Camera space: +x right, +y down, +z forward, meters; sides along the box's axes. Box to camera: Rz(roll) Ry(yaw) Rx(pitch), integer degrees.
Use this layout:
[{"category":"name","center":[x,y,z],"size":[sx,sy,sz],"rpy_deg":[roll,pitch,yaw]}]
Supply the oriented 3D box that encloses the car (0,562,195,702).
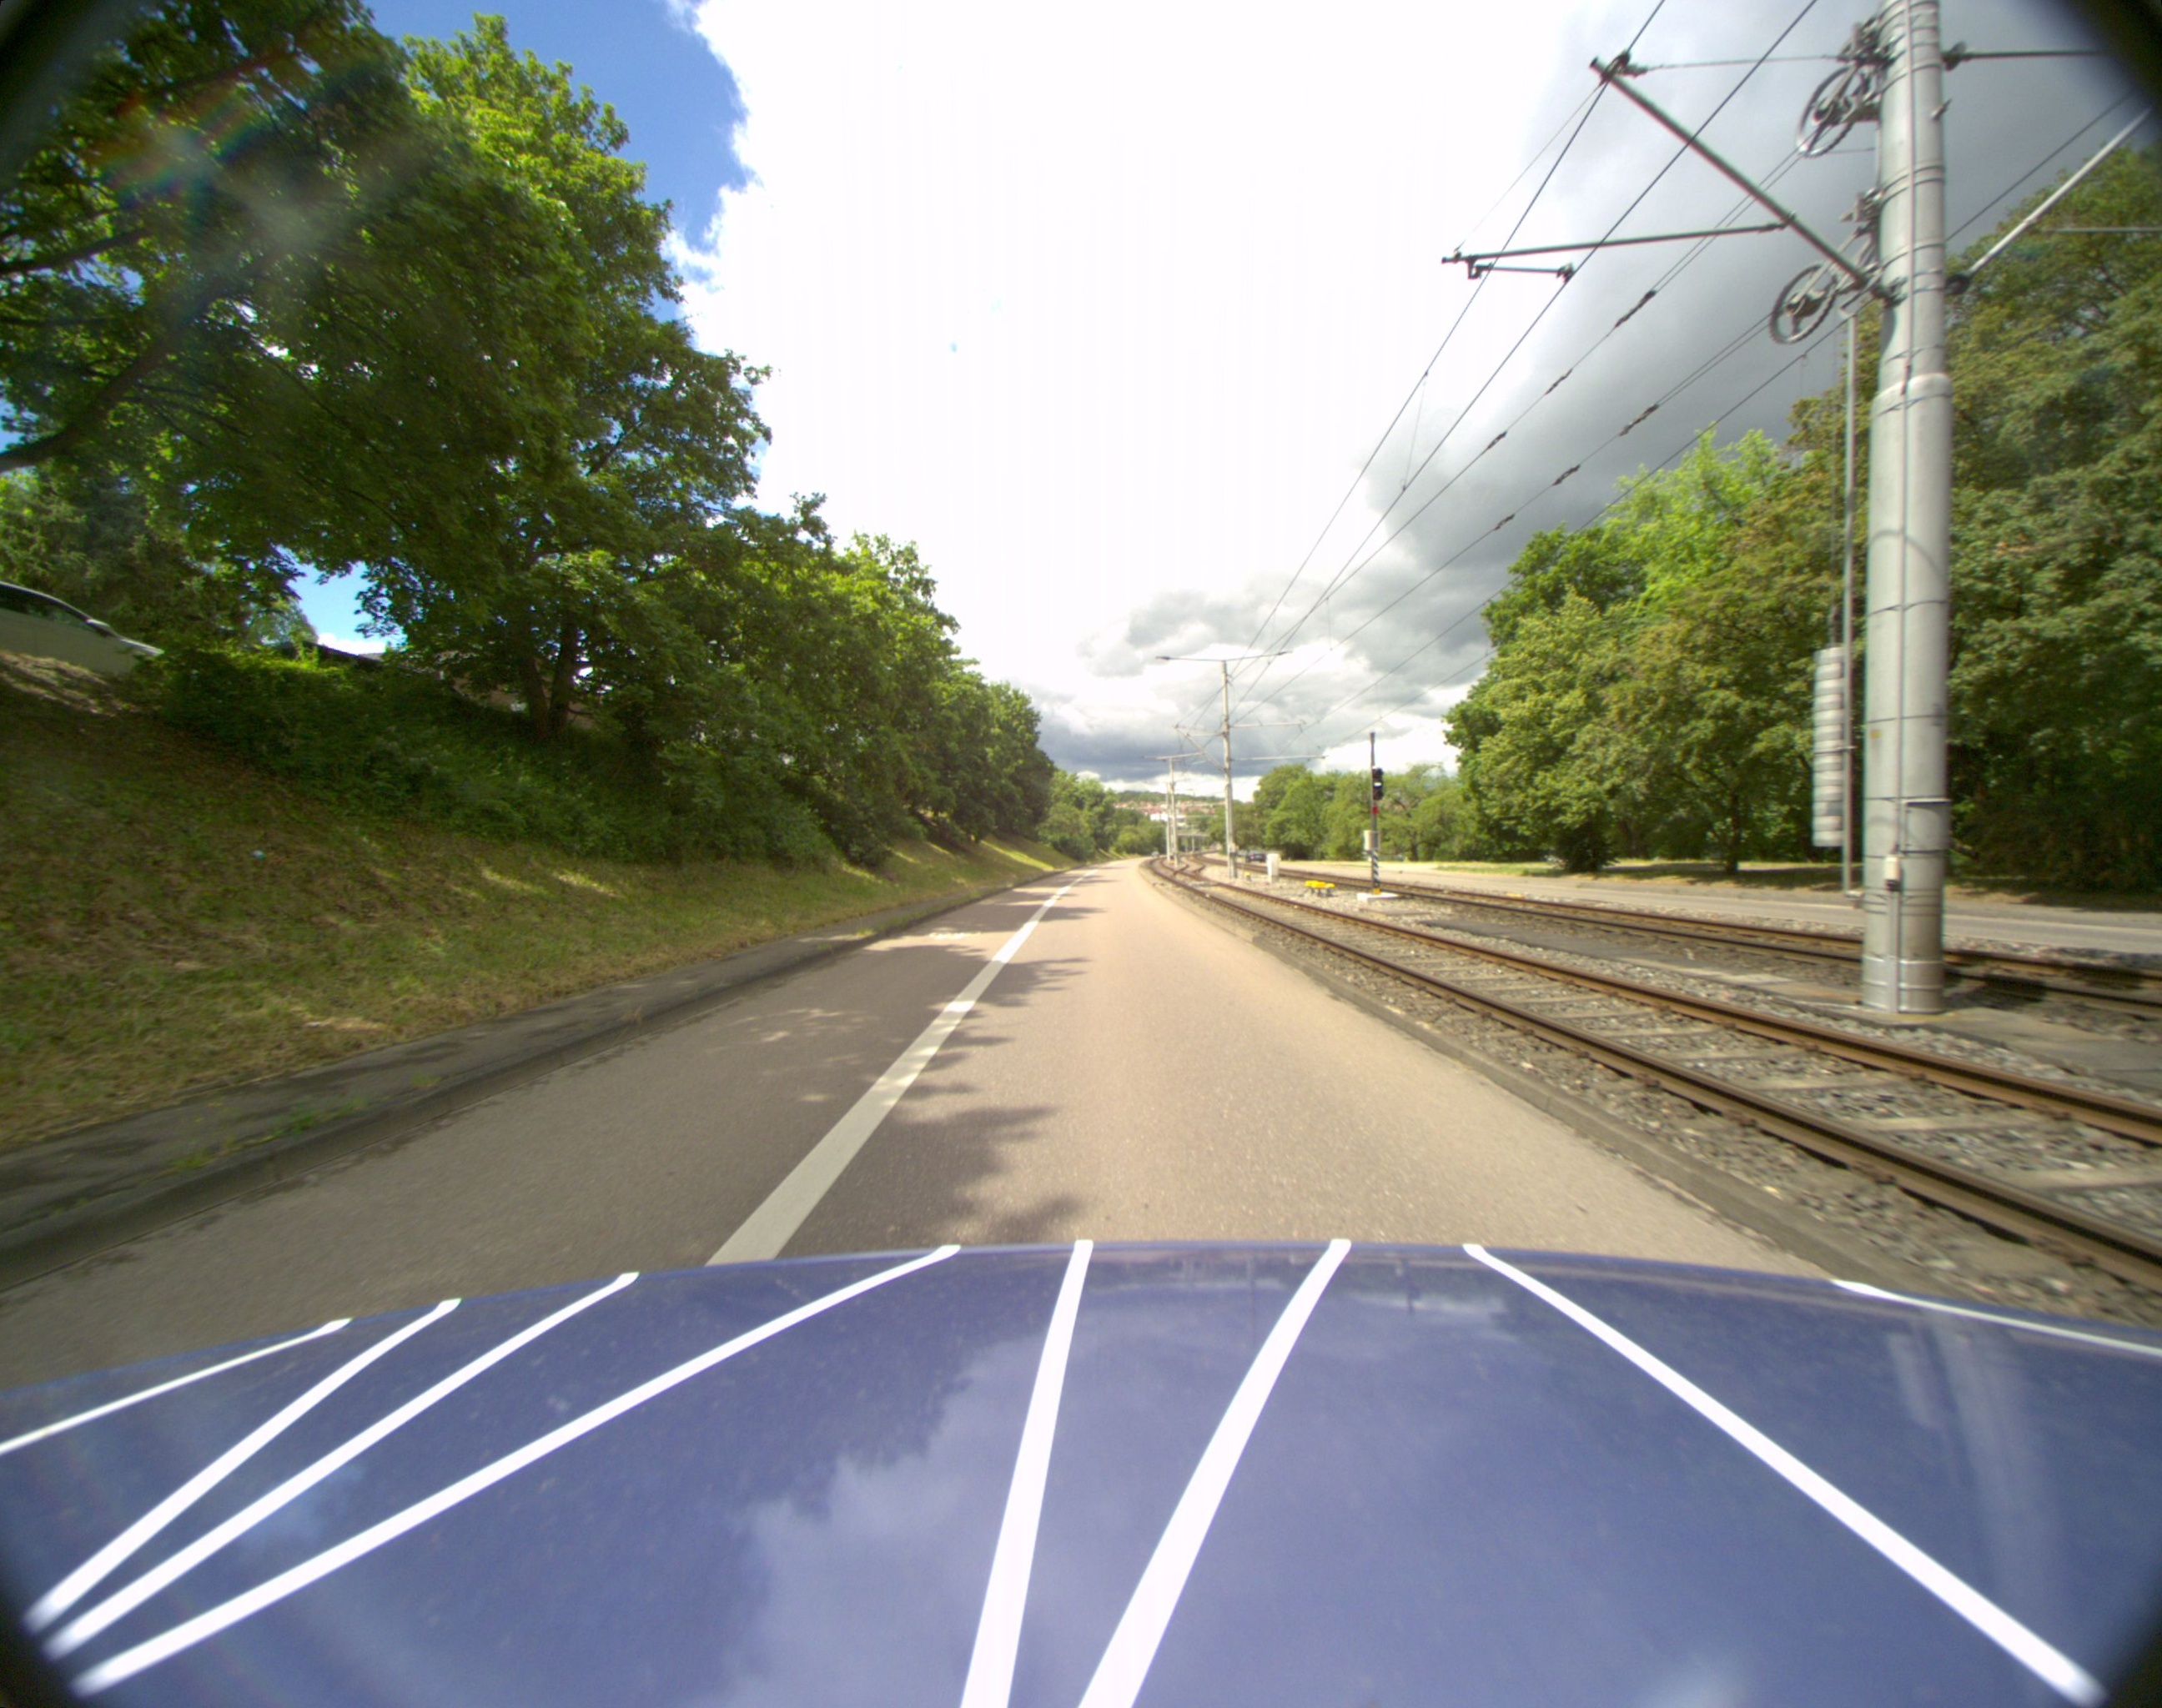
[{"category":"car","center":[-16.330,-3.408,11.207],"size":[1.779,1.490,3.996],"rpy_deg":[-2,0,-1]}]

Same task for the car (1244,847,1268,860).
[{"category":"car","center":[19.306,-0.026,84.142],"size":[1.840,1.383,4.863],"rpy_deg":[0,0,4]}]

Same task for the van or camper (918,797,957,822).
[{"category":"van or camper","center":[-13.686,-4.201,72.876],"size":[2.222,2.057,6.162],"rpy_deg":[-2,0,2]}]

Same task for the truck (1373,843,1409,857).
[{"category":"truck","center":[66.457,-0.862,162.930],"size":[6.613,2.839,2.681],"rpy_deg":[1,1,10]}]
